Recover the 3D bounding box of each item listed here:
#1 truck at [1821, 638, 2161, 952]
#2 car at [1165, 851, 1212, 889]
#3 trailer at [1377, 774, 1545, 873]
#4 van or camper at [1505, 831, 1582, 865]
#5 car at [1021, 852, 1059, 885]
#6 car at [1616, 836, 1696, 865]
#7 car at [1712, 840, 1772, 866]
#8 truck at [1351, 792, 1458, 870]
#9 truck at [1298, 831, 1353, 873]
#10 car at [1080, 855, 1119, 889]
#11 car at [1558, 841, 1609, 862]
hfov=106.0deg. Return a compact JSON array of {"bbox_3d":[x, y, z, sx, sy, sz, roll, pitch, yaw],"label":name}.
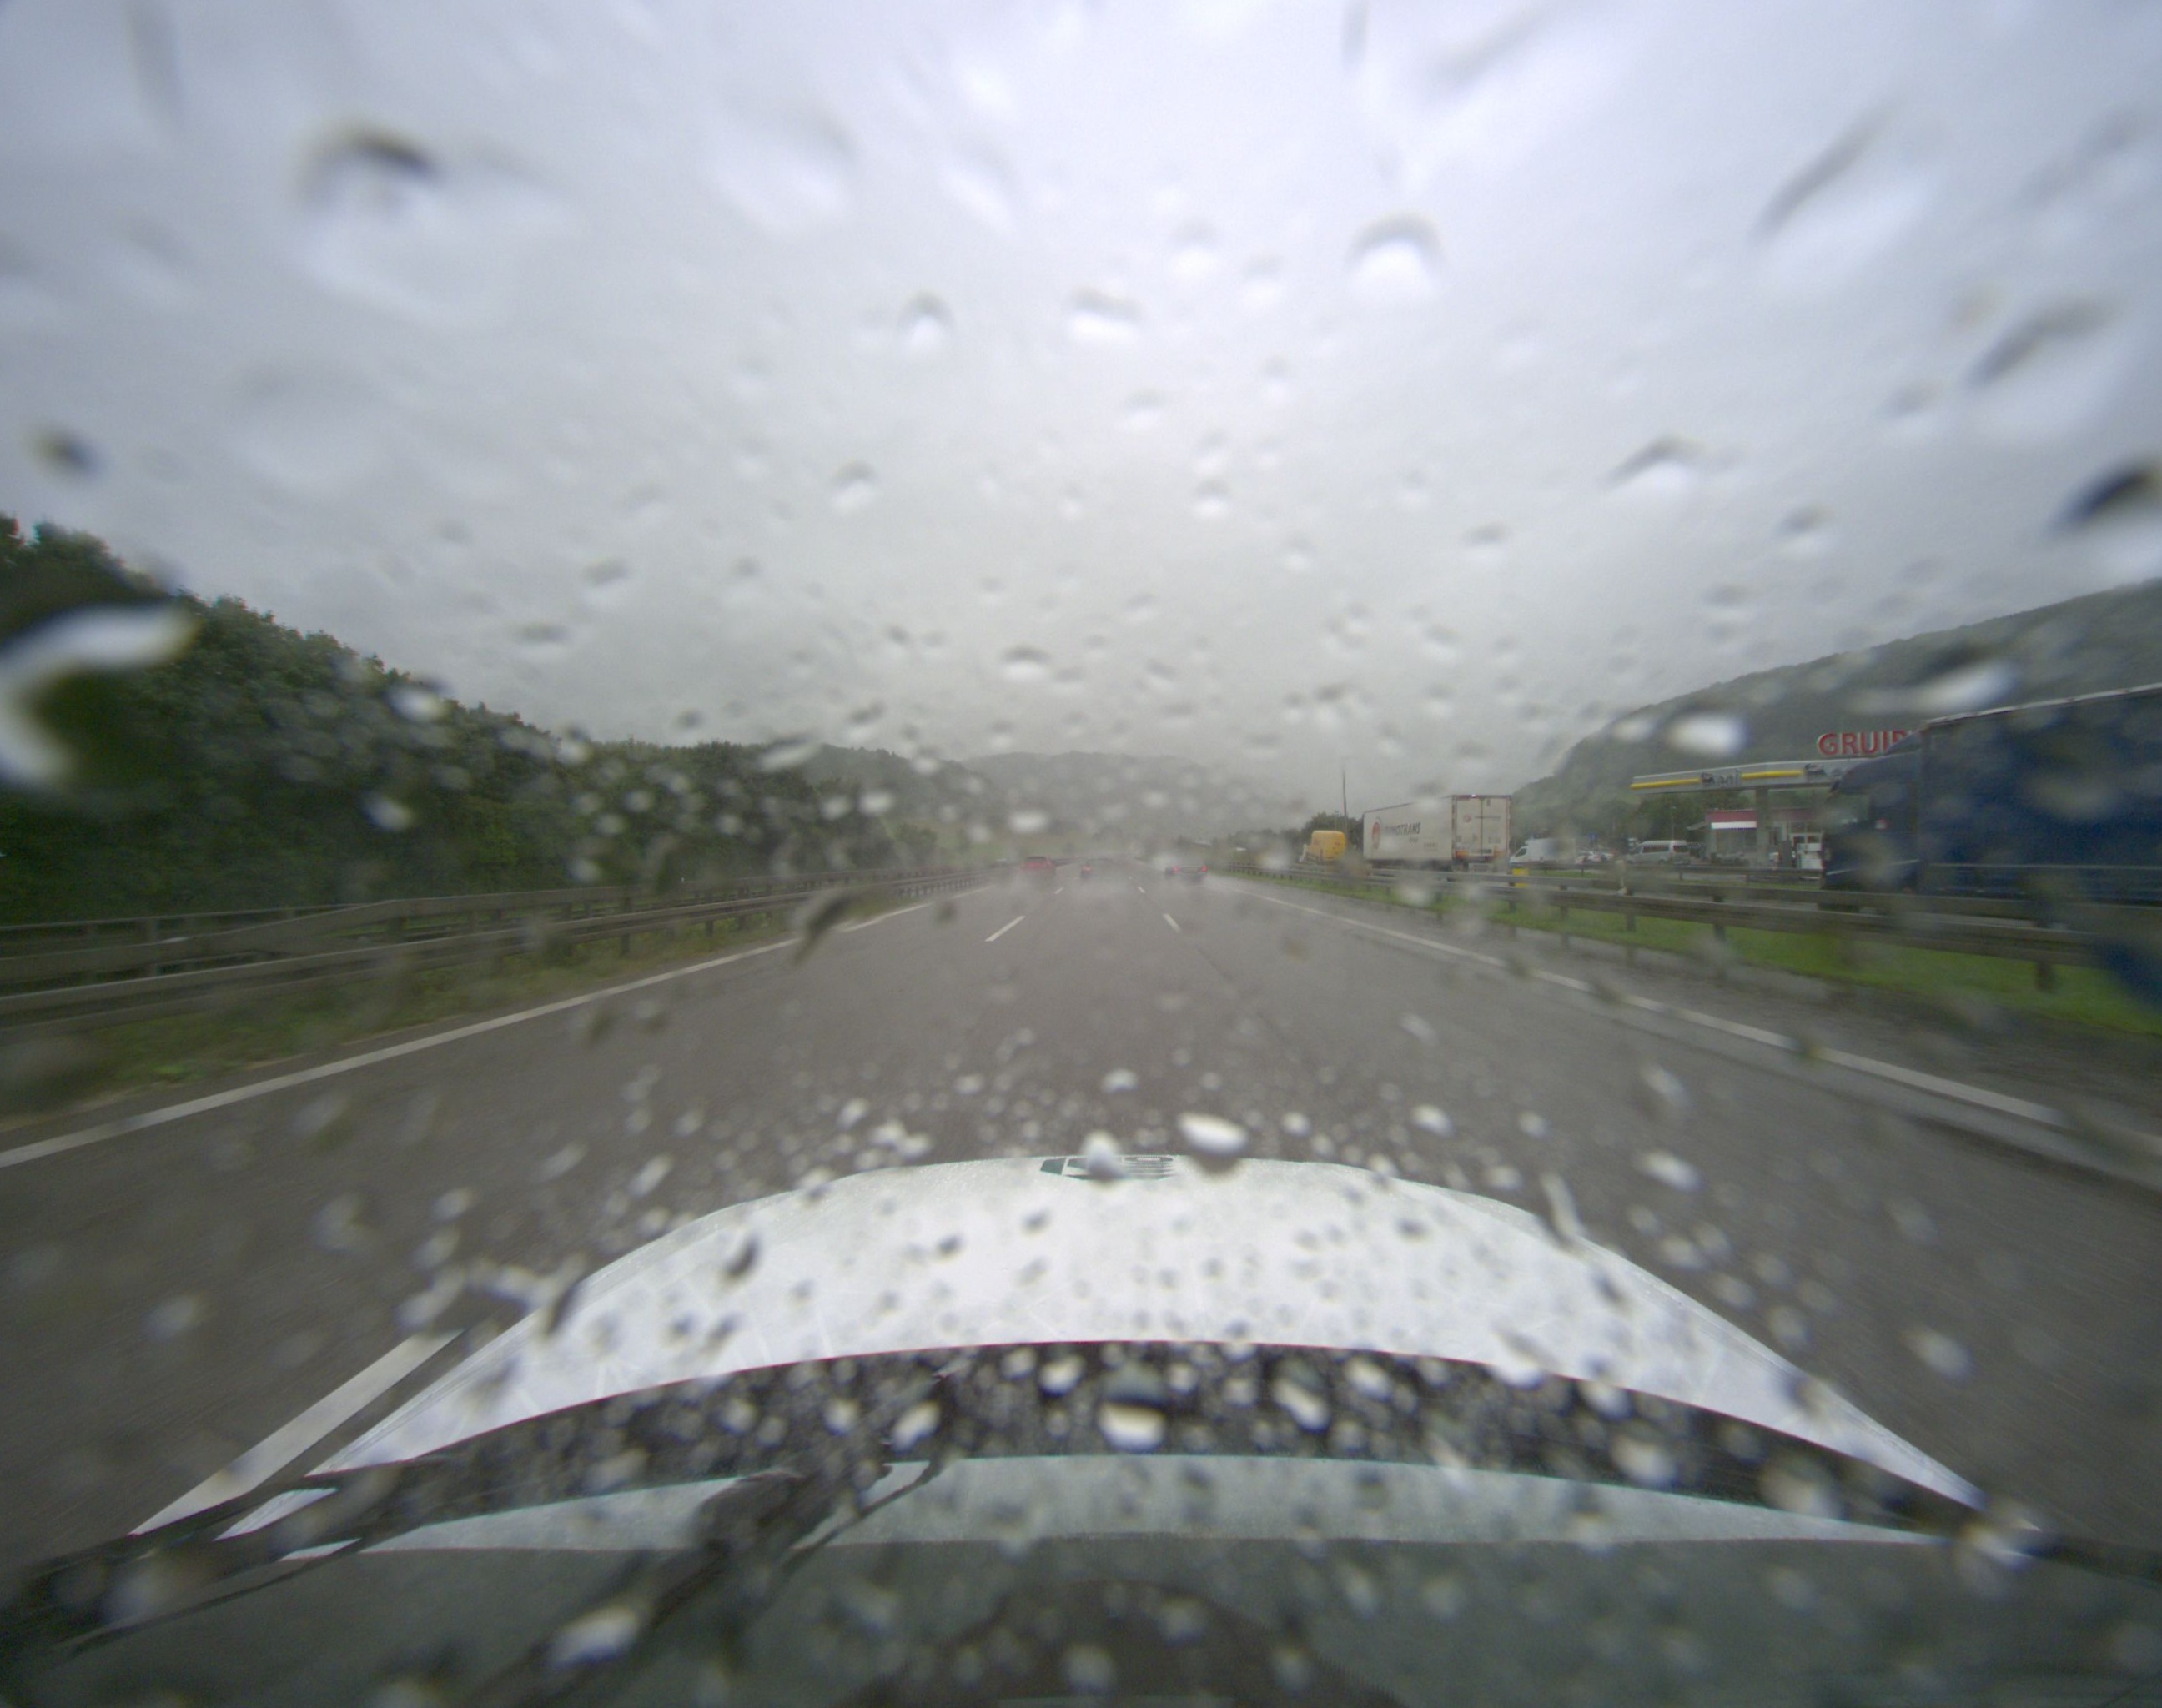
[{"bbox_3d":[16.865,-0.821,11.404,3.387,4.402,11.056,0,0,3],"label":"truck"},{"bbox_3d":[5.319,0.753,40.594,1.964,1.760,4.003,-1,0,2],"label":"car"},{"bbox_3d":[18.498,-1.284,40.967,3.501,4.261,11.929,0,0,3],"label":"trailer"},{"bbox_3d":[43.361,-0.555,76.568,2.007,3.059,6.110,0,-1,-32],"label":"van or camper"},{"bbox_3d":[-2.368,0.836,47.844,1.877,1.816,4.001,-1,0,1],"label":"car"},{"bbox_3d":[47.587,-0.266,67.586,1.996,2.308,5.426,0,0,-14],"label":"car"},{"bbox_3d":[53.521,-0.069,66.034,1.982,2.014,4.010,1,0,9],"label":"car"},{"bbox_3d":[18.853,-1.237,48.145,3.513,4.220,7.821,0,0,3],"label":"truck"},{"bbox_3d":[19.192,-0.116,64.458,2.281,3.147,8.873,0,0,4],"label":"truck"},{"bbox_3d":[0.968,0.868,40.525,1.852,1.589,4.002,0,0,2],"label":"car"},{"bbox_3d":[50.106,-0.223,81.174,3.950,2.013,2.012,-1,0,44],"label":"car"}]
